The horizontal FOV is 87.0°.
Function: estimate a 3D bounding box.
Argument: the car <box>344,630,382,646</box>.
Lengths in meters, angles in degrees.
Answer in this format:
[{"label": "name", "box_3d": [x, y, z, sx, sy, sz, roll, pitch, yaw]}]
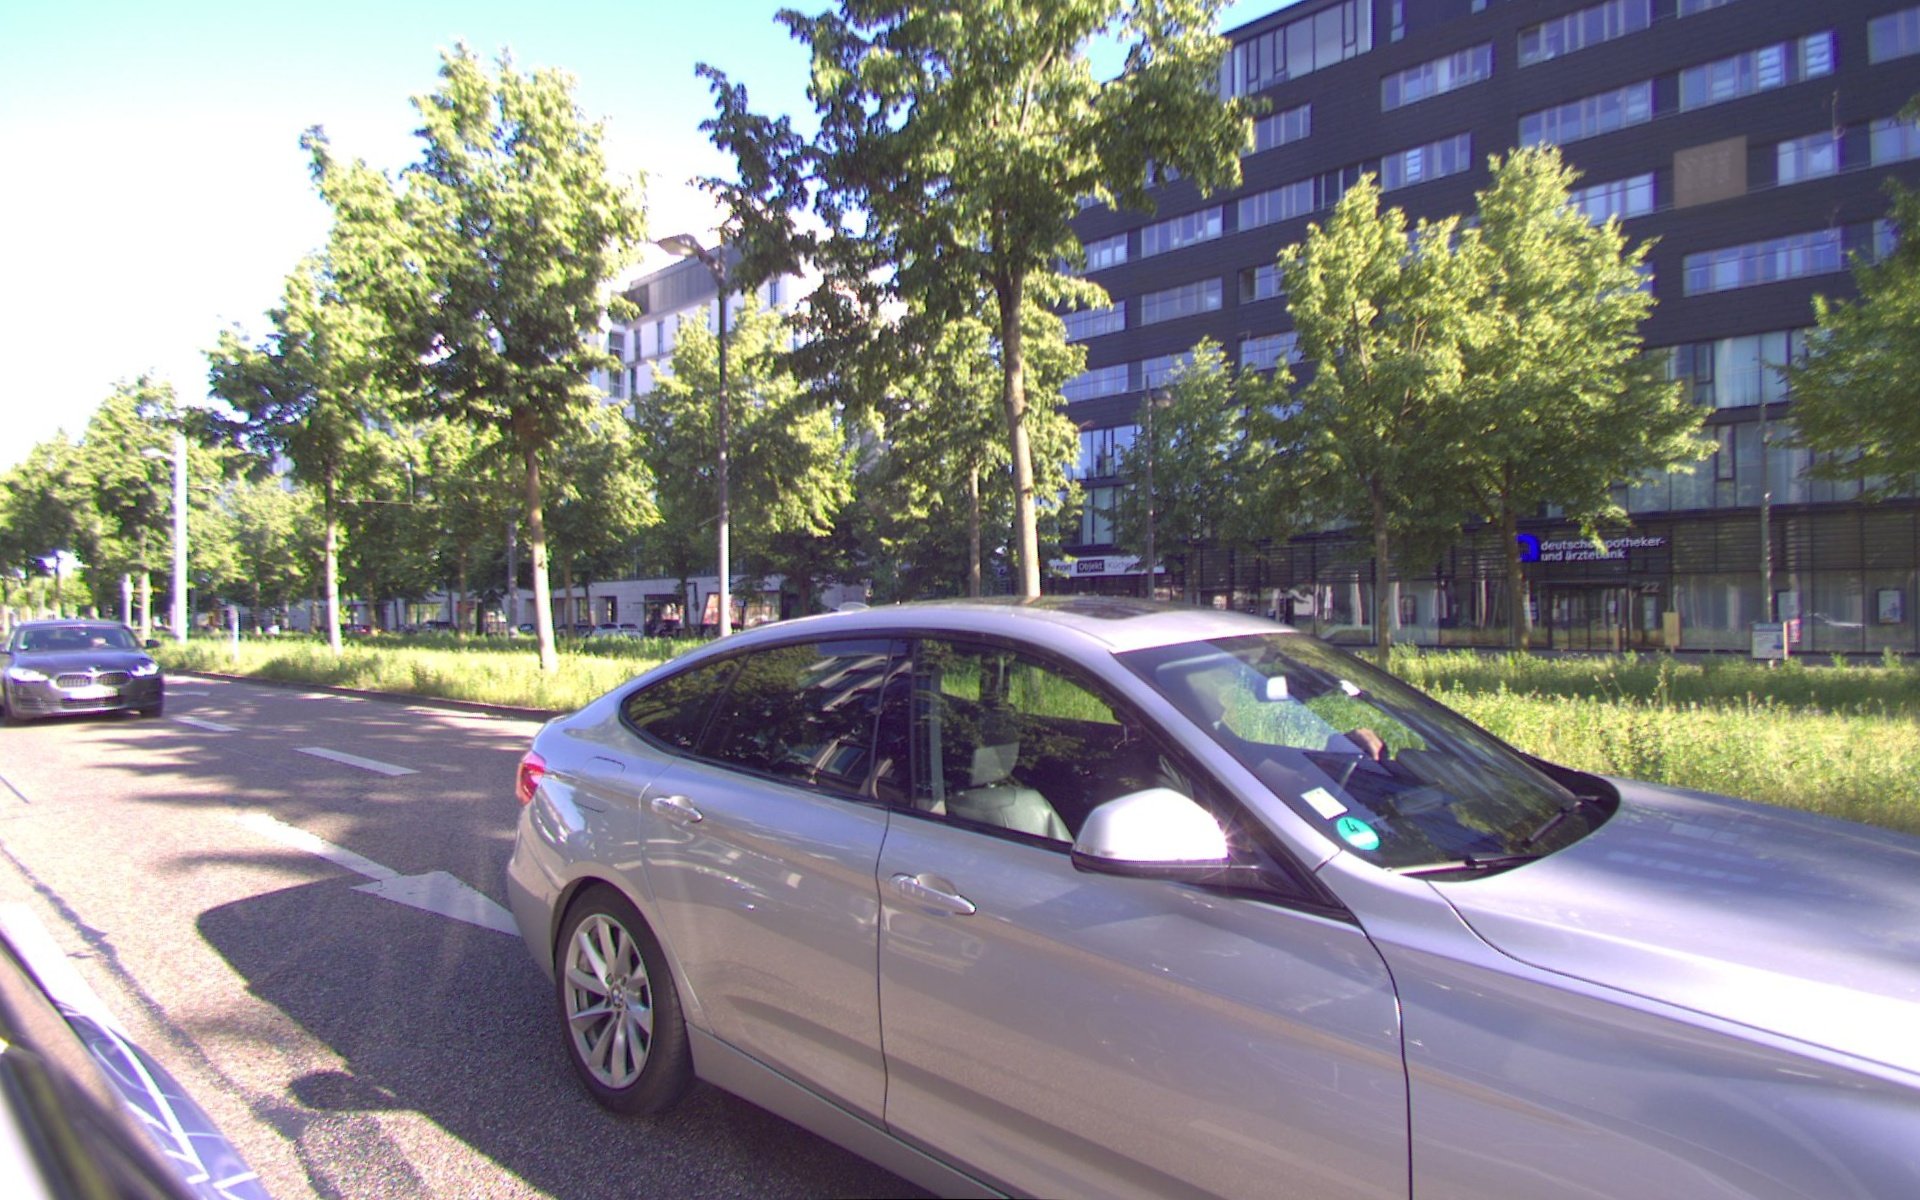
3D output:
[{"label": "car", "box_3d": [-54.105, 3.434, 91.652, 4.001, 1.406, 1.971, -2, -2, 44]}]

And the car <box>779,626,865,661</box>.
[{"label": "car", "box_3d": [-6.768, 2.075, 49.391, 4.182, 1.609, 1.926, -2, -1, 41]}]

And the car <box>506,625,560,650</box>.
[{"label": "car", "box_3d": [-29.731, 2.588, 70.470, 4.182, 1.609, 1.859, -2, -1, 41]}]

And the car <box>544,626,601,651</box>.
[{"label": "car", "box_3d": [-25.702, 2.523, 67.058, 4.182, 1.609, 1.859, -2, -1, 41]}]

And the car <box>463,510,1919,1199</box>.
[{"label": "car", "box_3d": [0.658, 0.681, 2.569, 4.558, 1.495, 1.800, -1, -1, 40]}]

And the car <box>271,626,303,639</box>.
[{"label": "car", "box_3d": [-72.535, 3.494, 109.064, 3.998, 1.406, 1.972, -2, -2, 41]}]

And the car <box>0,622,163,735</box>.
[{"label": "car", "box_3d": [-13.880, 1.107, 15.567, 3.998, 1.502, 1.837, -1, -1, 41]}]

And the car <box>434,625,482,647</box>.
[{"label": "car", "box_3d": [-38.672, 2.734, 77.976, 4.182, 1.609, 1.859, -2, -1, 41]}]

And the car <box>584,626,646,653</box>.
[{"label": "car", "box_3d": [-21.564, 2.462, 63.134, 4.182, 1.609, 1.859, -2, -1, 41]}]

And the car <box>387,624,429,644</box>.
[{"label": "car", "box_3d": [-46.589, 2.849, 85.379, 4.182, 1.609, 1.859, -2, -1, 41]}]

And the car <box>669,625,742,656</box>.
[{"label": "car", "box_3d": [-14.146, 2.208, 56.144, 4.182, 1.609, 1.926, -2, -1, 41]}]

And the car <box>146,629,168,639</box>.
[{"label": "car", "box_3d": [-114.631, 4.807, 144.495, 4.001, 1.406, 1.971, -2, -2, 44]}]

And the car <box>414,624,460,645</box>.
[{"label": "car", "box_3d": [-42.134, 2.779, 81.483, 4.182, 1.609, 1.859, -2, -1, 41]}]
